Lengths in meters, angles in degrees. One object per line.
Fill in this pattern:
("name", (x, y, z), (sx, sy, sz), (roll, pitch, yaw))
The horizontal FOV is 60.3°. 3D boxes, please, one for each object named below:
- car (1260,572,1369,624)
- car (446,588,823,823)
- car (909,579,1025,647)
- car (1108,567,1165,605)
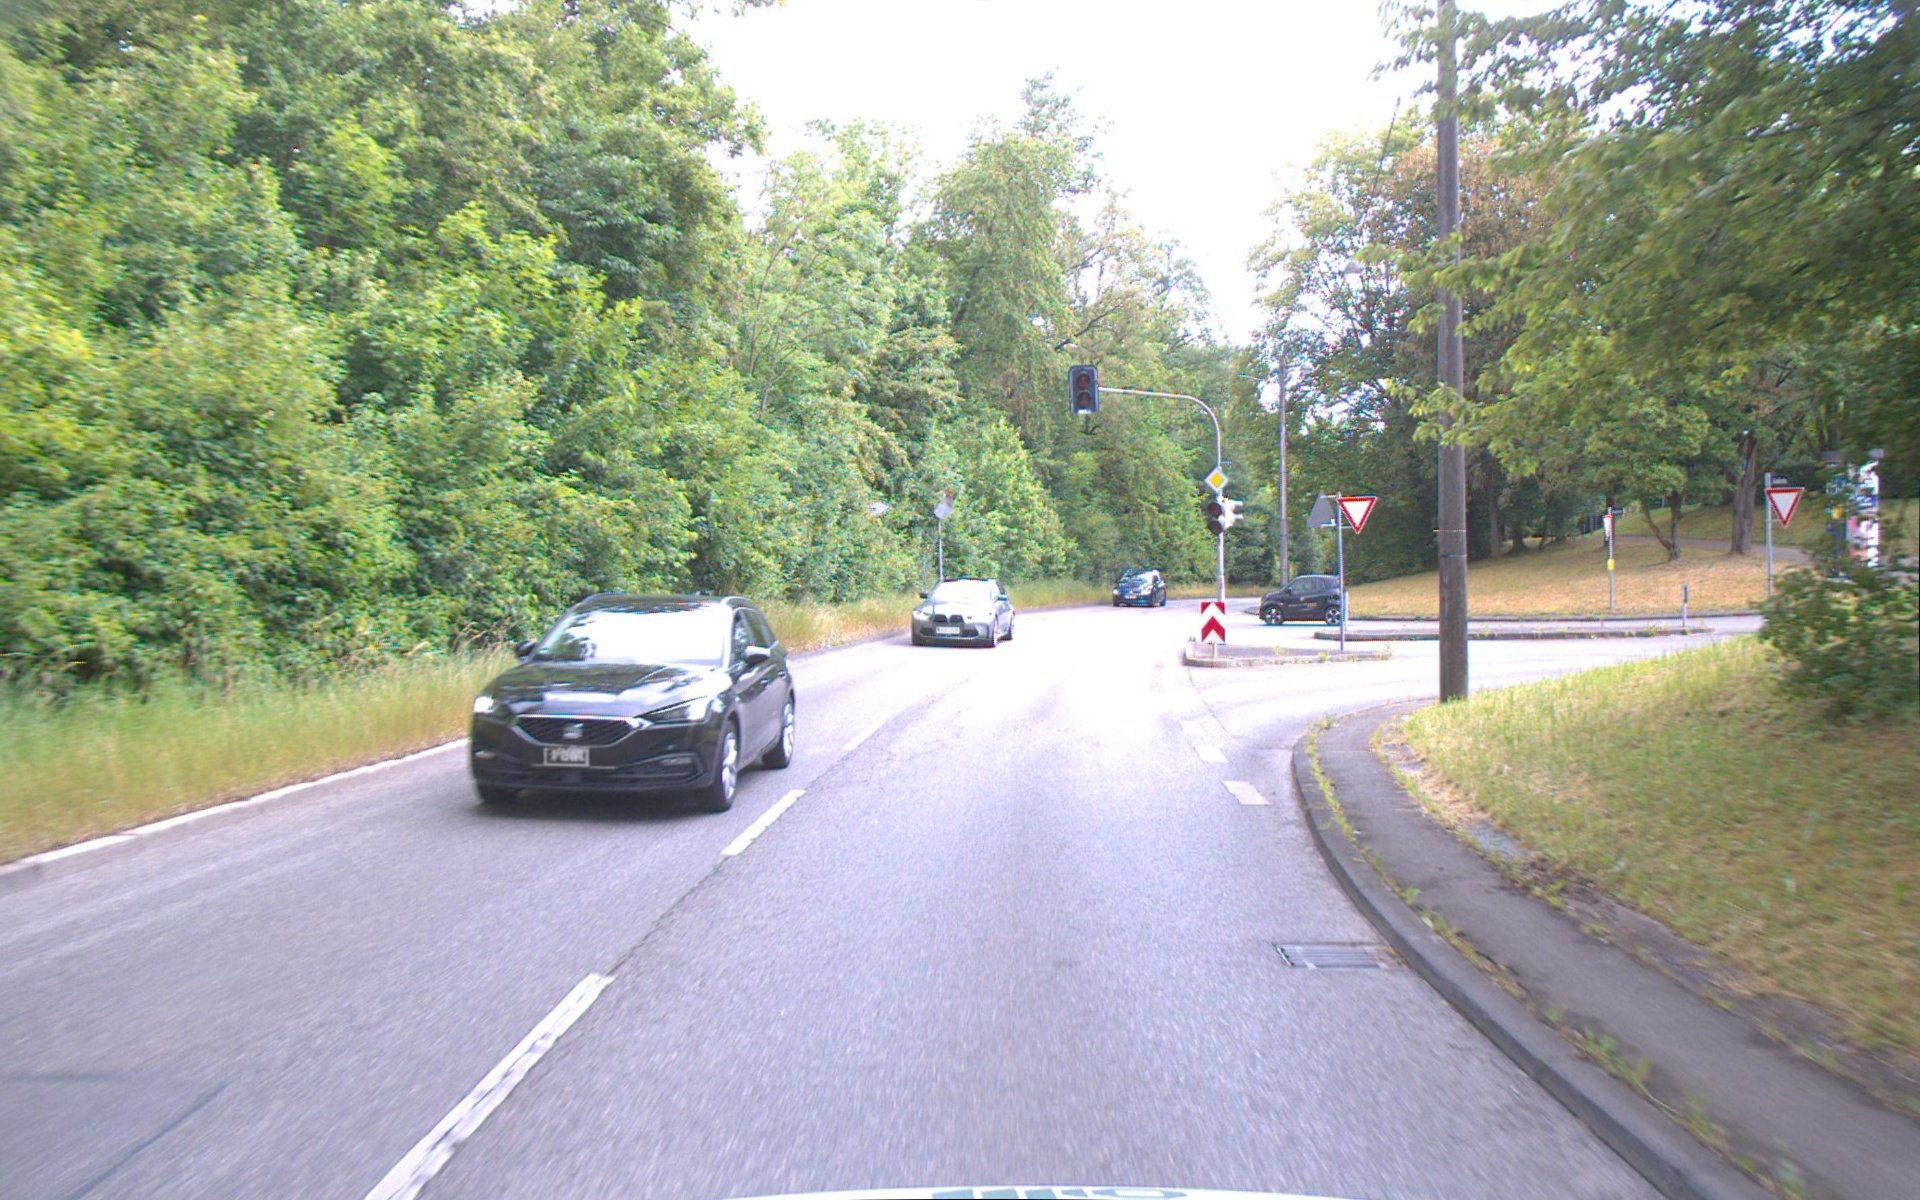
("car", (10.994, -0.067, 51.287), (3.233, 1.521, 1.669), (-1, 1, 13))
("car", (-2.273, 0.654, 12.873), (1.765, 1.459, 4.662), (1, 0, 3))
("car", (0.240, 0.268, 37.951), (1.858, 1.377, 4.846), (2, 1, 10))
("car", (7.614, -0.597, 70.973), (1.751, 1.541, 4.846), (-1, 1, 14))
